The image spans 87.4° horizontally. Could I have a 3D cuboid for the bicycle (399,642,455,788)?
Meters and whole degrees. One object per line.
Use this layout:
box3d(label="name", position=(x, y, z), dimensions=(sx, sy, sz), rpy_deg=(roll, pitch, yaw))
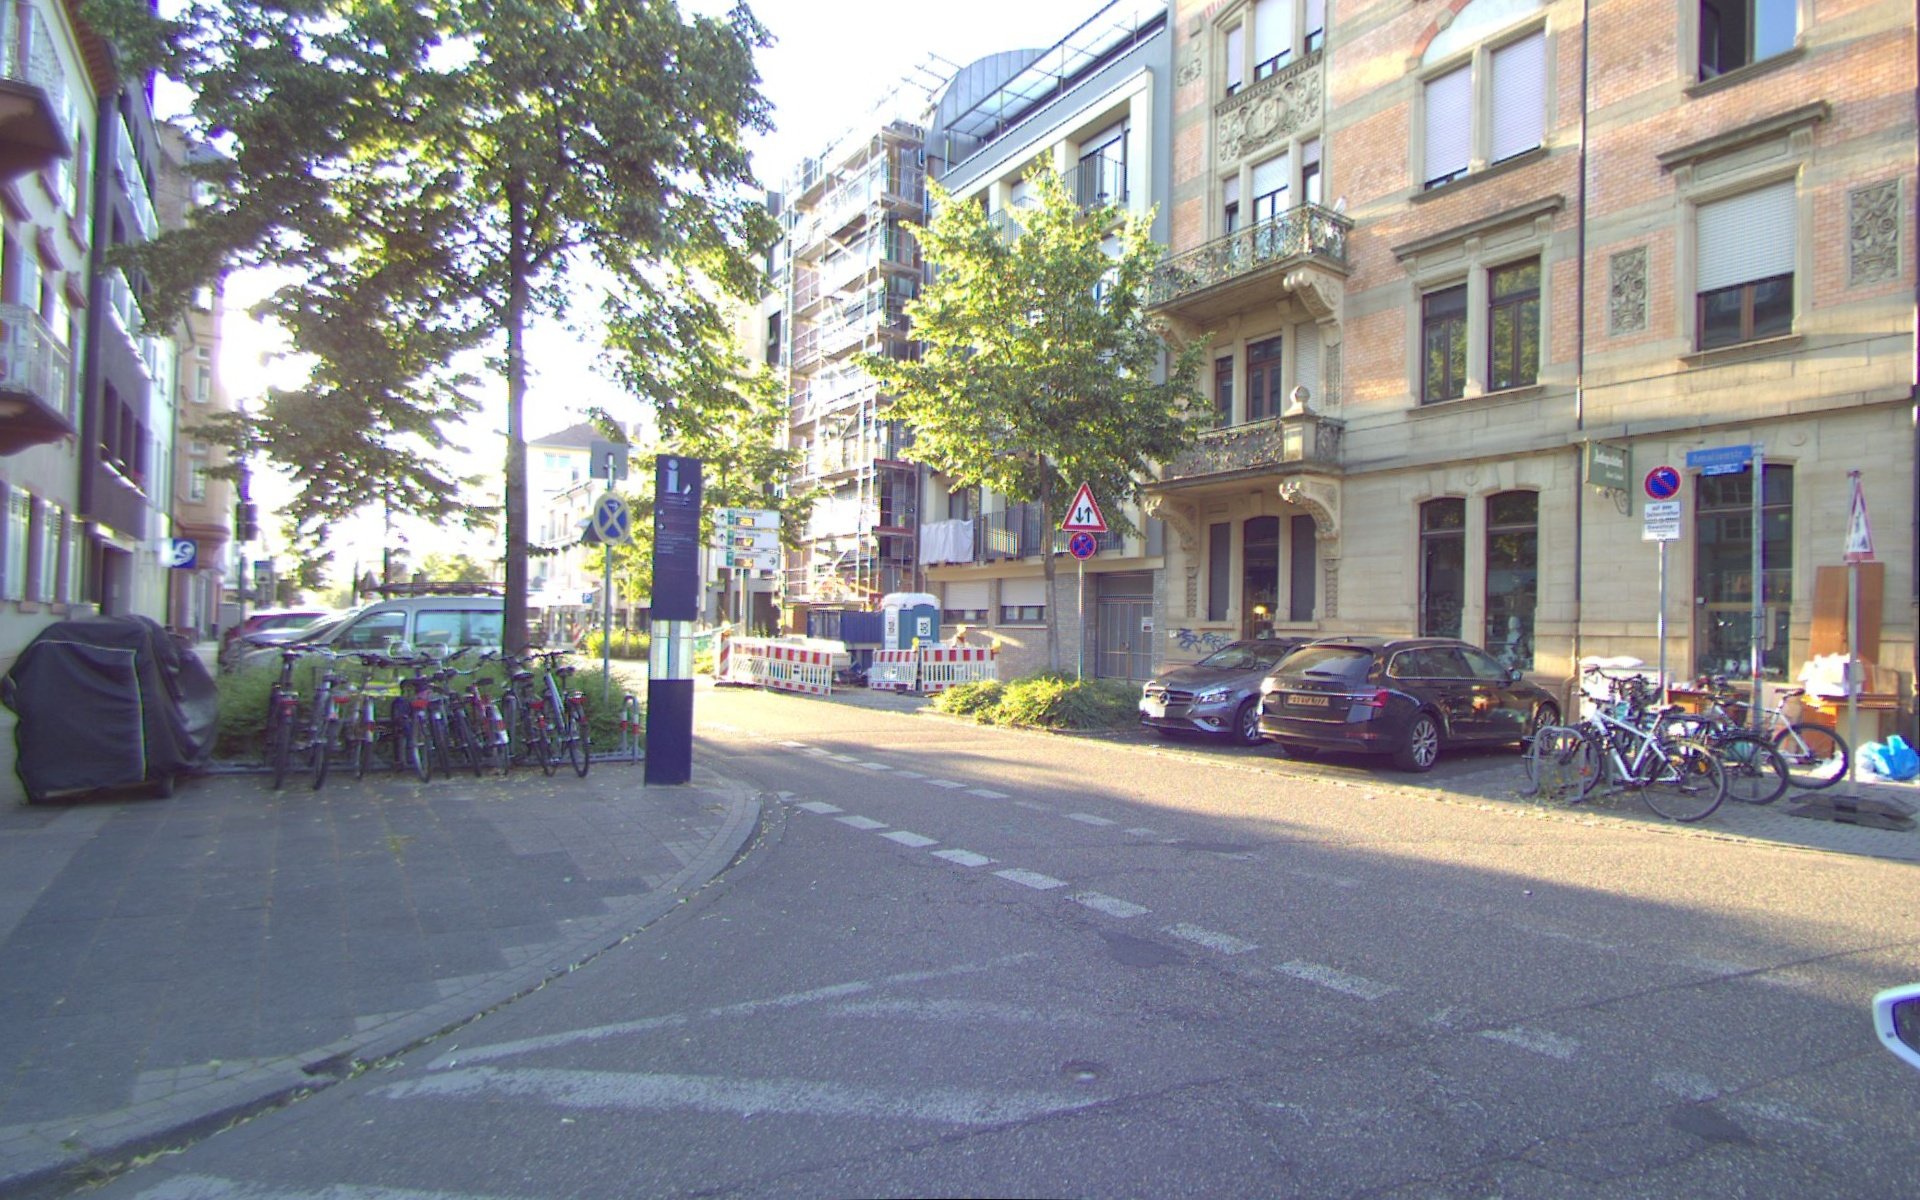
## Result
box3d(label="bicycle", position=(-4.739, 0.967, 8.900), dimensions=(0.309, 1.163, 1.598), rpy_deg=(3, -3, -31))

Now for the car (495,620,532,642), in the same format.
box3d(label="car", position=(-30.389, 2.089, 68.343), dimensions=(1.622, 1.443, 3.722), rpy_deg=(2, -2, -34))

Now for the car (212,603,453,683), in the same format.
box3d(label="car", position=(-13.274, 0.922, 21.360), dimensions=(4.183, 1.536, 1.743), rpy_deg=(3, -2, -38))

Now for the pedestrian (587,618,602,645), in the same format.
box3d(label="pedestrian", position=(-22.570, 1.960, 62.034), dimensions=(0.805, 1.668, 0.600), rpy_deg=(1, -2, -34))

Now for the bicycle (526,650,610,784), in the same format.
box3d(label="bicycle", position=(-3.746, 1.062, 9.540), dimensions=(0.392, 1.122, 1.698), rpy_deg=(4, -3, -31))

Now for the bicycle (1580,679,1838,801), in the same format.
box3d(label="bicycle", position=(7.805, 1.410, 10.580), dimensions=(0.633, 1.027, 2.090), rpy_deg=(2, -2, -35))

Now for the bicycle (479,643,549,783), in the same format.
box3d(label="bicycle", position=(-4.169, 1.009, 9.351), dimensions=(0.328, 1.155, 1.583), rpy_deg=(4, -3, -31))

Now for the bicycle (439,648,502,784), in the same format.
box3d(label="bicycle", position=(-4.520, 1.021, 9.235), dimensions=(0.316, 1.096, 1.583), rpy_deg=(4, -3, -31))

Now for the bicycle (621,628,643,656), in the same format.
box3d(label="bicycle", position=(-14.556, 1.844, 44.553), dimensions=(0.379, 1.205, 1.507), rpy_deg=(4, -3, -37))

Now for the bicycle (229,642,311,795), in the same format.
box3d(label="bicycle", position=(-5.618, 0.917, 8.226), dimensions=(0.392, 1.096, 1.583), rpy_deg=(4, -3, -31))

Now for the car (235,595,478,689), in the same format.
box3d(label="car", position=(-11.517, 0.839, 19.389), dimensions=(3.795, 1.605, 1.727), rpy_deg=(4, -3, -31))

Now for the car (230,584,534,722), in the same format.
box3d(label="car", position=(-8.679, 0.804, 15.347), dimensions=(3.779, 1.874, 1.686), rpy_deg=(2, -2, -31))

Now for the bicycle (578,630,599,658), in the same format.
box3d(label="bicycle", position=(-15.347, 1.804, 41.514), dimensions=(0.379, 1.114, 1.507), rpy_deg=(2, -2, -37))

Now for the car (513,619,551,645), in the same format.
box3d(label="car", position=(-26.651, 1.968, 62.514), dimensions=(1.623, 1.574, 2.667), rpy_deg=(2, -2, -36))

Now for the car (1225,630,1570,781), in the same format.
box3d(label="car", position=(5.579, 1.171, 12.618), dimensions=(4.495, 1.531, 1.893), rpy_deg=(1, -1, -34))

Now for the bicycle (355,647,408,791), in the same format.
box3d(label="bicycle", position=(-4.999, 0.973, 8.658), dimensions=(0.338, 1.096, 1.583), rpy_deg=(2, -2, -31))

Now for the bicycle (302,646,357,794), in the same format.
box3d(label="bicycle", position=(-5.275, 0.954, 8.432), dimensions=(0.319, 1.096, 1.583), rpy_deg=(3, -2, -31))

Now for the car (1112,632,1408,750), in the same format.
box3d(label="car", position=(4.556, 1.247, 14.992), dimensions=(4.495, 1.499, 1.850), rpy_deg=(1, -2, -34))

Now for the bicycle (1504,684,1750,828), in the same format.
box3d(label="bicycle", position=(6.018, 1.360, 9.178), dimensions=(0.565, 1.060, 1.817), rpy_deg=(2, -1, -31))

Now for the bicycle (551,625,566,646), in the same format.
box3d(label="bicycle", position=(-25.179, 2.233, 62.970), dimensions=(0.394, 1.250, 1.807), rpy_deg=(2, -2, -36))

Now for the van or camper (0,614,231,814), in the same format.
box3d(label="van or camper", position=(-6.175, 0.777, 7.468), dimensions=(0.933, 1.276, 1.831), rpy_deg=(4, -3, -29))

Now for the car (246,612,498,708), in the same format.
box3d(label="car", position=(-10.161, 1.028, 17.612), dimensions=(3.617, 1.535, 1.636), rpy_deg=(2, -2, -29))

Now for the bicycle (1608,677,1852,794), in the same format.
box3d(label="bicycle", position=(8.382, 1.432, 11.043), dimensions=(0.461, 1.054, 2.090), rpy_deg=(2, -2, -35))

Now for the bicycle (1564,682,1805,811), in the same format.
box3d(label="bicycle", position=(7.023, 1.374, 9.830), dimensions=(0.633, 1.027, 1.814), rpy_deg=(2, -2, -35))

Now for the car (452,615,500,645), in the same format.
box3d(label="car", position=(-29.928, 1.837, 62.008), dimensions=(1.981, 1.676, 4.631), rpy_deg=(5, -4, -33))
